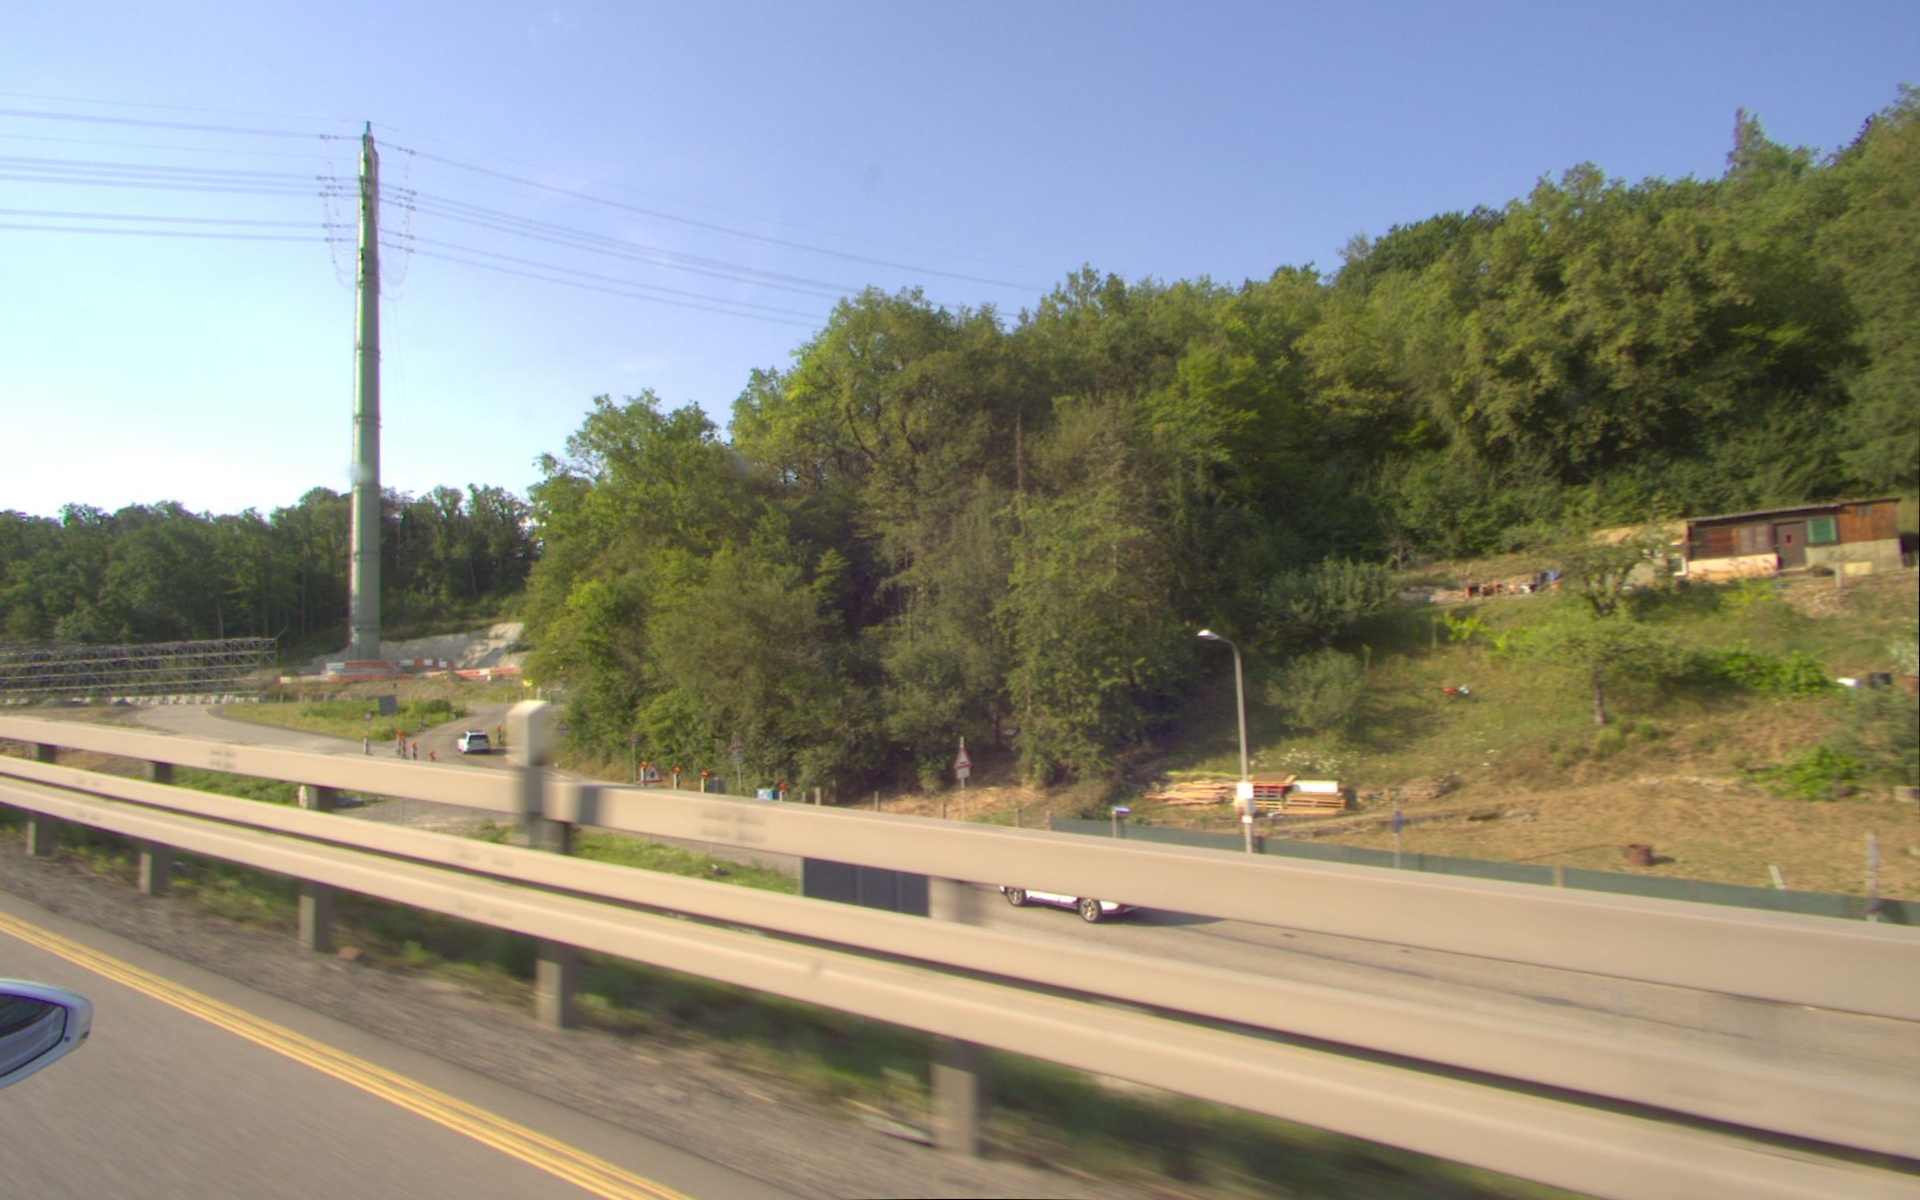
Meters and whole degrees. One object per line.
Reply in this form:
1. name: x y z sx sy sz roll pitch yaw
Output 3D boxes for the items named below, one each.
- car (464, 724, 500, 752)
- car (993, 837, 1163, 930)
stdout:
1. car: -33.119 9.557 69.448 1.503 1.479 4.263 -1 -2 -15
2. car: 3.110 7.551 26.994 4.423 1.681 1.661 -5 -6 42
